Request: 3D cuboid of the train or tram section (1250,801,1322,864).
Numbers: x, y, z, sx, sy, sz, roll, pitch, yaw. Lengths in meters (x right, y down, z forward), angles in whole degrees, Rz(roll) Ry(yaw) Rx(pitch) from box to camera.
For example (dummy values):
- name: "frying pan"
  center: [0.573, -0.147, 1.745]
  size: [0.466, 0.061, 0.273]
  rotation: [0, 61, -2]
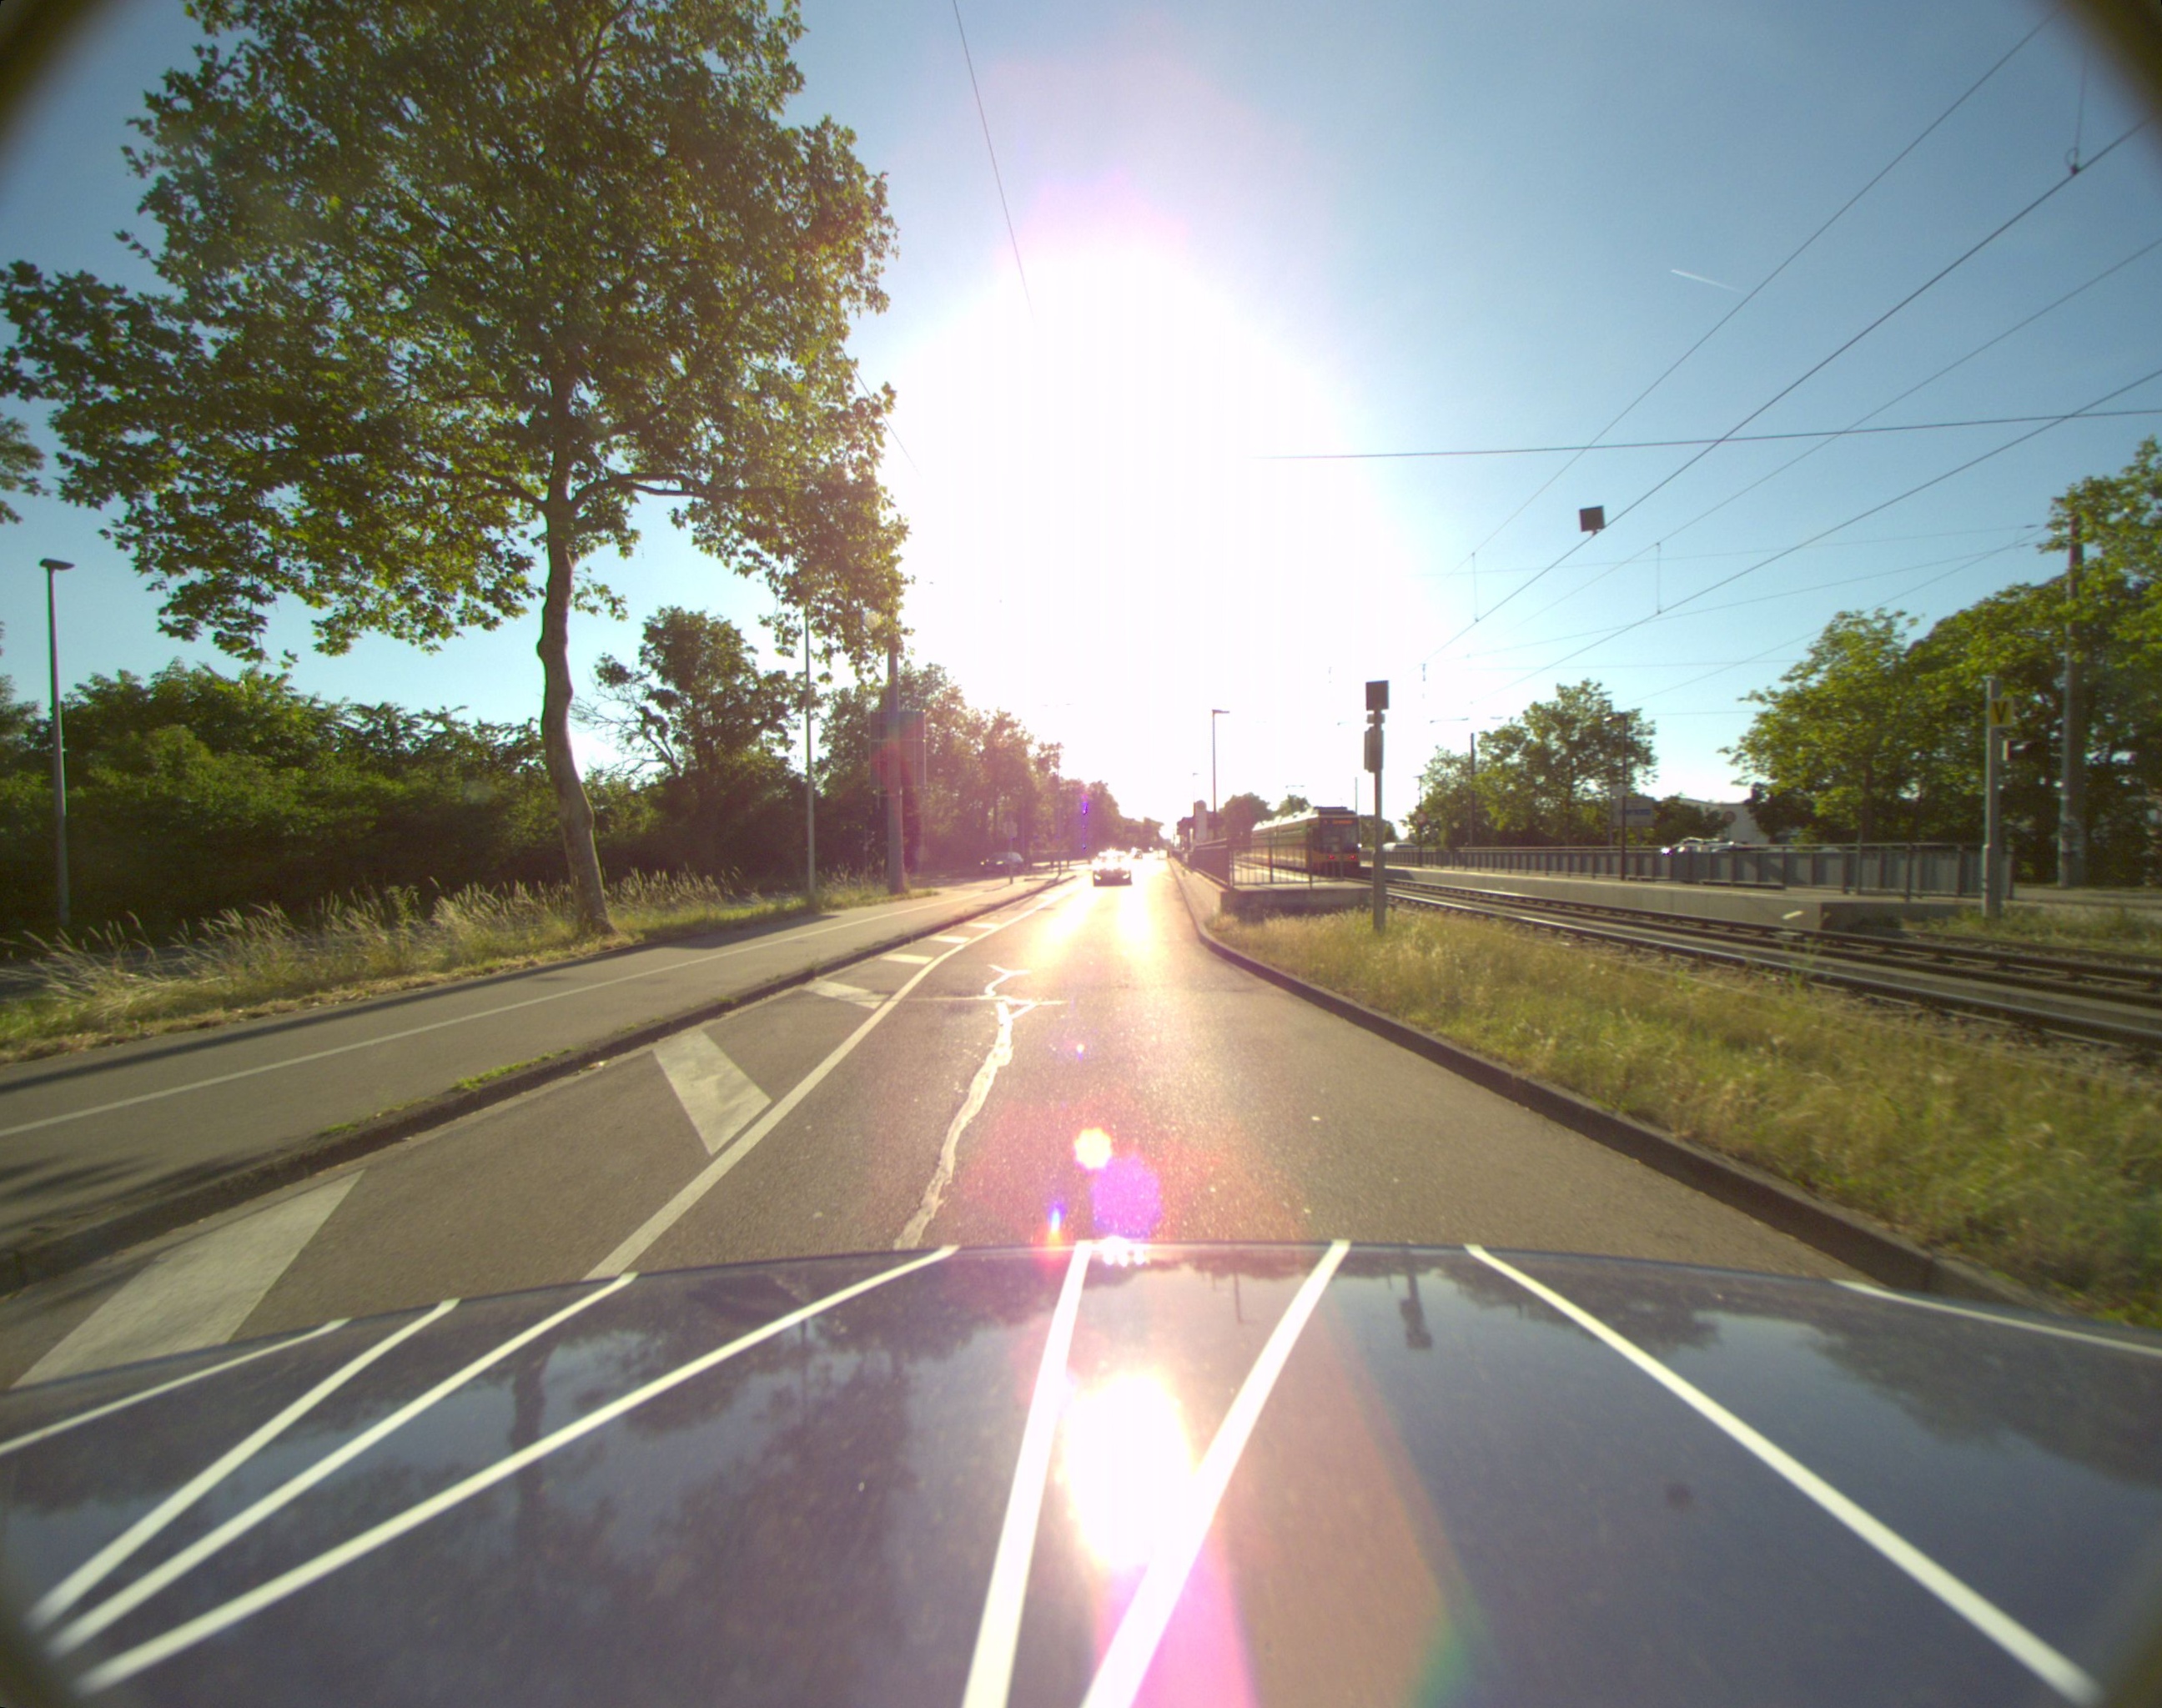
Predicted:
- name: "train or tram section"
  center: [15.081, -1.475, 57.356]
  size: [2.833, 3.982, 15.880]
  rotation: [-2, 1, 7]

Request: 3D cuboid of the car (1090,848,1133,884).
- name: "car"
  center: [1.476, 0.526, 35.295]
  size: [1.786, 1.530, 4.001]
  rotation: [0, 0, 5]

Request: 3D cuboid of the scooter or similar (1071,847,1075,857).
- name: "scooter or similar"
  center: [-1.125, -0.261, 104.022]
  size: [0.427, 1.267, 1.083]
  rotation: [-1, 1, 6]

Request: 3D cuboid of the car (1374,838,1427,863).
- name: "car"
  center: [20.938, -0.256, 50.000]
  size: [1.997, 1.552, 4.336]
  rotation: [-2, 1, 6]

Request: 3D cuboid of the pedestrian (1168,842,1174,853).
- name: "pedestrian"
  center: [13.232, -0.910, 111.922]
  size: [0.891, 1.635, 0.987]
  rotation: [-1, 1, 5]

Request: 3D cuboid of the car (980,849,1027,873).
- name: "car"
  center: [-5.566, 0.477, 55.202]
  size: [1.821, 1.608, 4.005]
  rotation: [-1, 1, 19]

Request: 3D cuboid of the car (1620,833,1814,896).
- name: "car"
  center: [17.686, 0.249, 21.493]
  size: [1.997, 1.552, 4.545]
  rotation: [-2, 1, 6]

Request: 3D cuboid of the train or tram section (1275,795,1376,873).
- name: "train or tram section"
  center: [13.451, -1.052, 43.122]
  size: [2.833, 3.665, 12.973]
  rotation: [-2, 1, 7]

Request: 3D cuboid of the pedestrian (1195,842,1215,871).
- name: "pedestrian"
  center: [6.373, 0.134, 39.007]
  size: [0.760, 1.485, 0.696]
  rotation: [-1, 1, 39]

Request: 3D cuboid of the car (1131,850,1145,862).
- name: "car"
  center: [7.861, 0.320, 104.233]
  size: [1.783, 1.586, 4.001]
  rotation: [-1, 0, 6]
